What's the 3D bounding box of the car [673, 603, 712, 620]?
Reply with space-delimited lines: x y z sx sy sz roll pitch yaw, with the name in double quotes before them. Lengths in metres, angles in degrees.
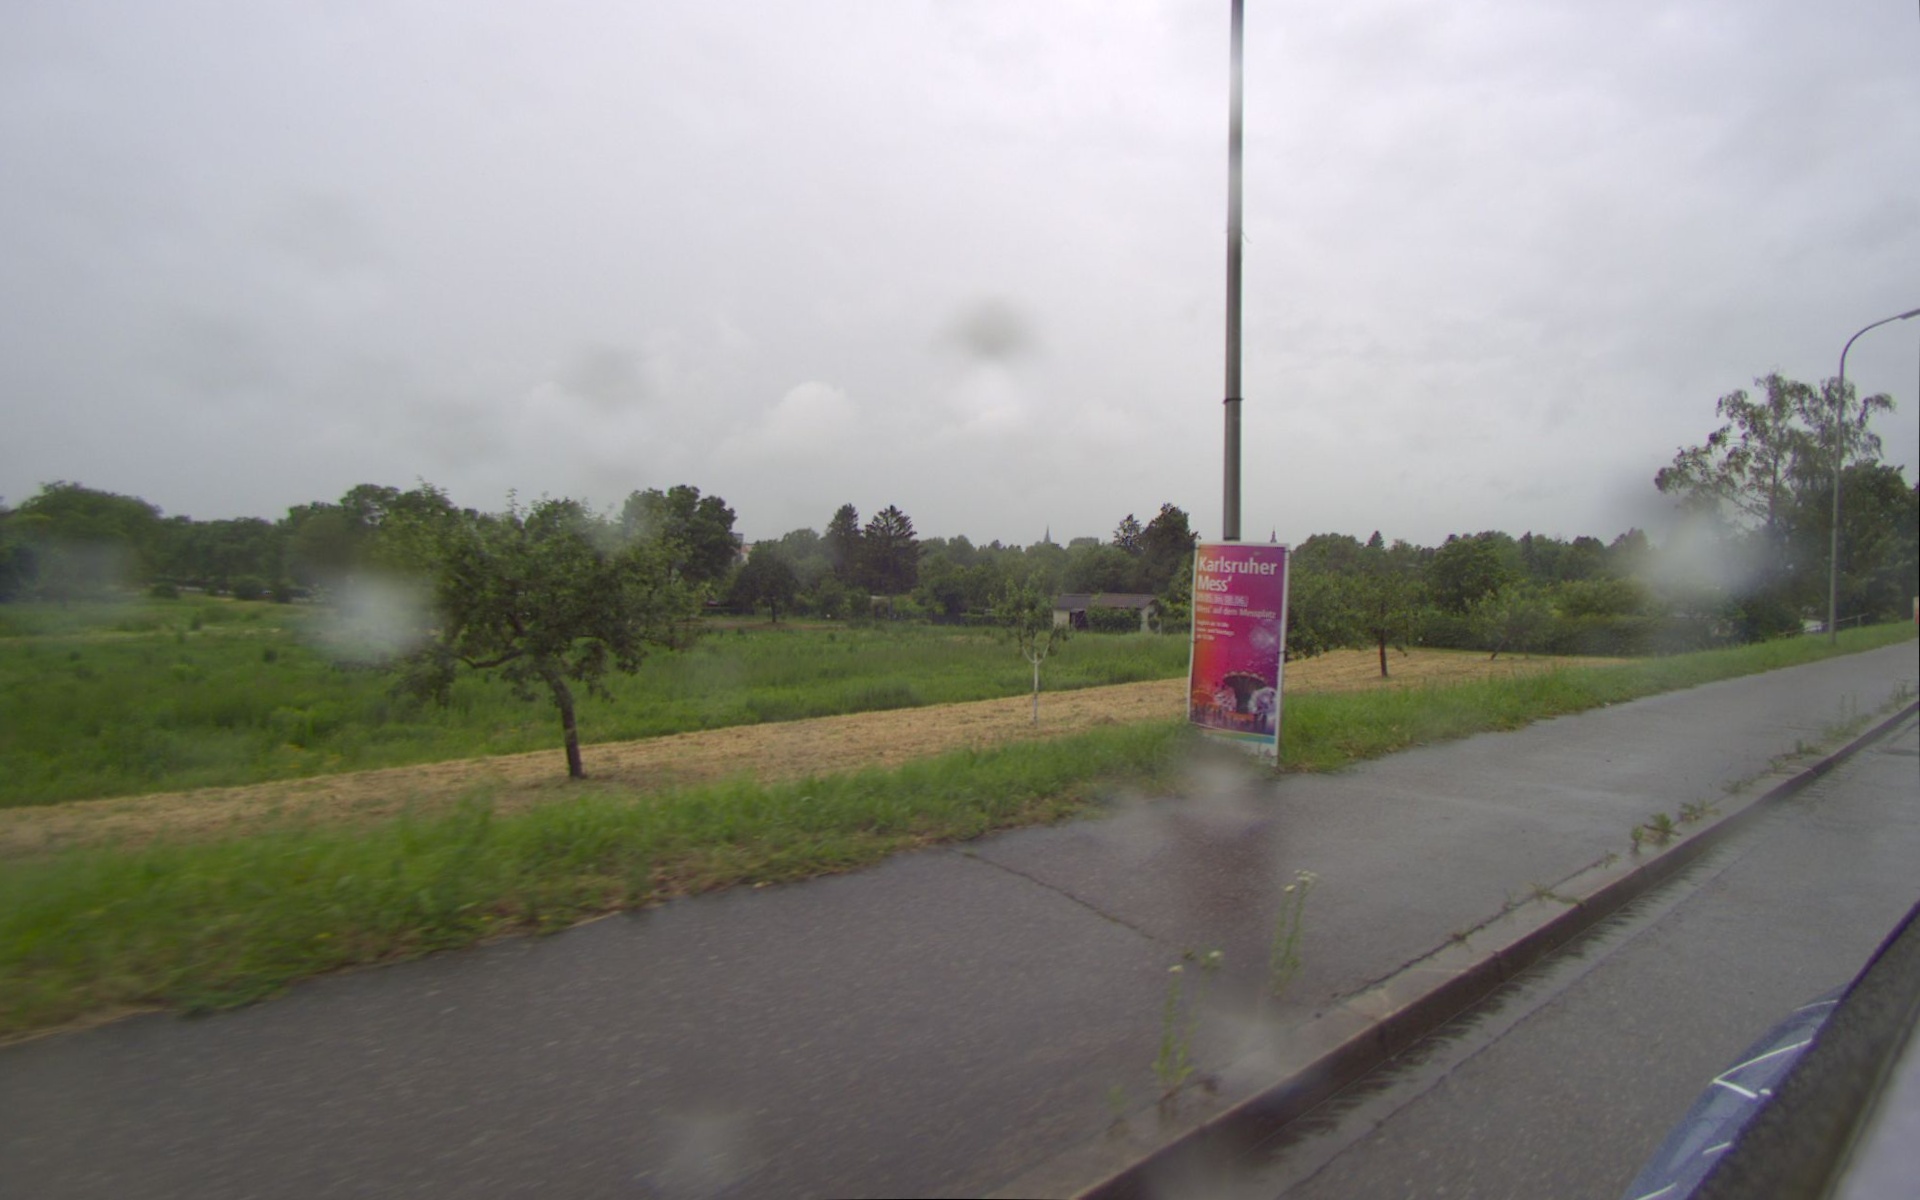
"car" -26.015 1.096 98.340 3.984 1.529 1.773 1 1 42
